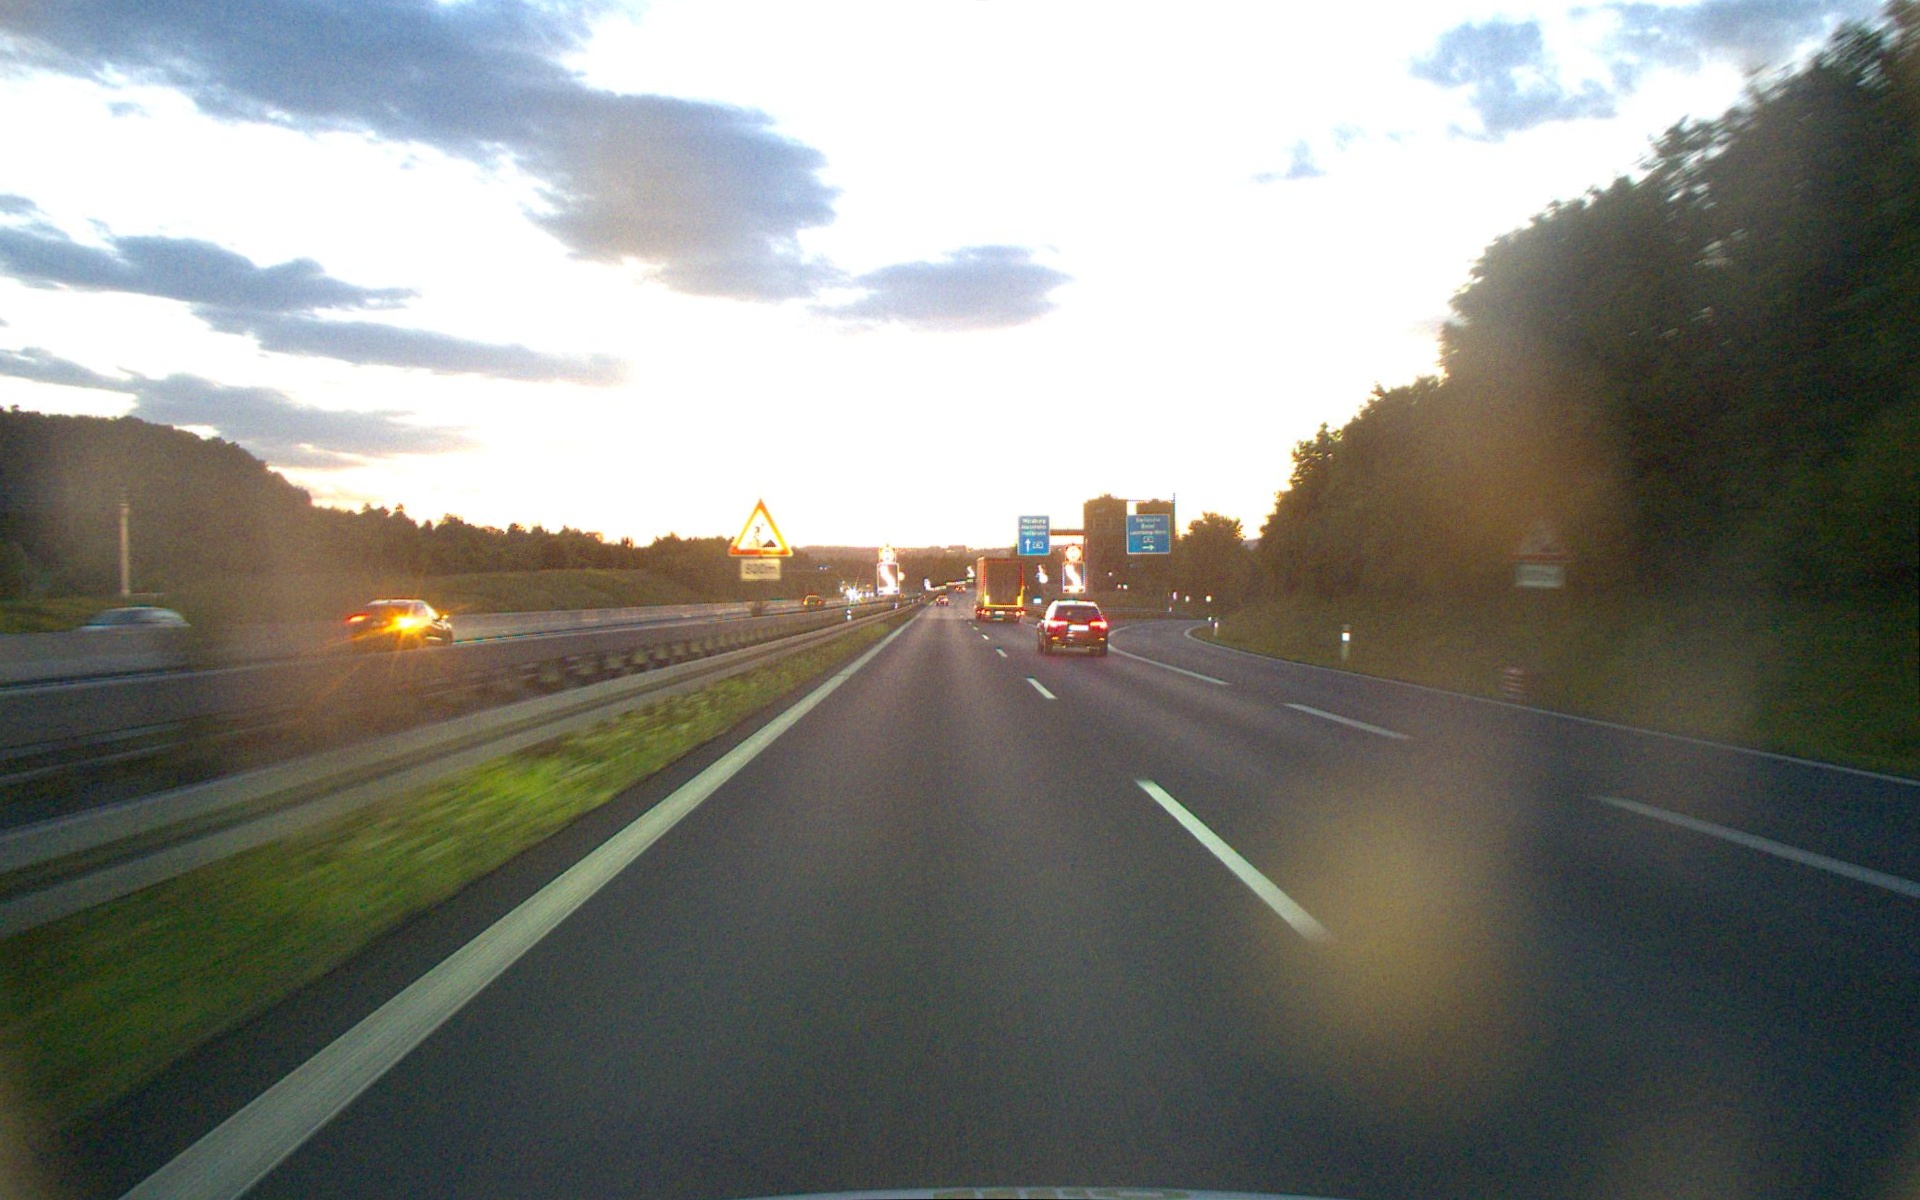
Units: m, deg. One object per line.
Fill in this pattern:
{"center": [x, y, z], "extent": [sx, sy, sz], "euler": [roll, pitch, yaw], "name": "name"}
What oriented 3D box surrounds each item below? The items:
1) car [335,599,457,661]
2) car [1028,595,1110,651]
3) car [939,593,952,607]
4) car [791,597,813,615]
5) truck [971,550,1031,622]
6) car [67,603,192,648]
{"center": [-15.457, 0.782, 45.586], "extent": [1.834, 1.588, 4.519], "euler": [-1, 0, -1], "name": "car"}
{"center": [3.002, 0.623, 46.392], "extent": [1.876, 1.467, 3.998], "euler": [-1, 0, -2], "name": "car"}
{"center": [-2.256, 0.024, 251.549], "extent": [1.953, 2.049, 3.999], "euler": [-1, 0, -1], "name": "car"}
{"center": [-14.572, 0.558, 152.892], "extent": [1.678, 1.634, 3.721], "euler": [-1, 0, -1], "name": "car"}
{"center": [2.599, -0.866, 108.488], "extent": [3.438, 4.376, 9.889], "euler": [-1, 0, -1], "name": "truck"}
{"center": [-25.386, 0.763, 50.718], "extent": [1.716, 1.272, 4.212], "euler": [-1, 0, -1], "name": "car"}
